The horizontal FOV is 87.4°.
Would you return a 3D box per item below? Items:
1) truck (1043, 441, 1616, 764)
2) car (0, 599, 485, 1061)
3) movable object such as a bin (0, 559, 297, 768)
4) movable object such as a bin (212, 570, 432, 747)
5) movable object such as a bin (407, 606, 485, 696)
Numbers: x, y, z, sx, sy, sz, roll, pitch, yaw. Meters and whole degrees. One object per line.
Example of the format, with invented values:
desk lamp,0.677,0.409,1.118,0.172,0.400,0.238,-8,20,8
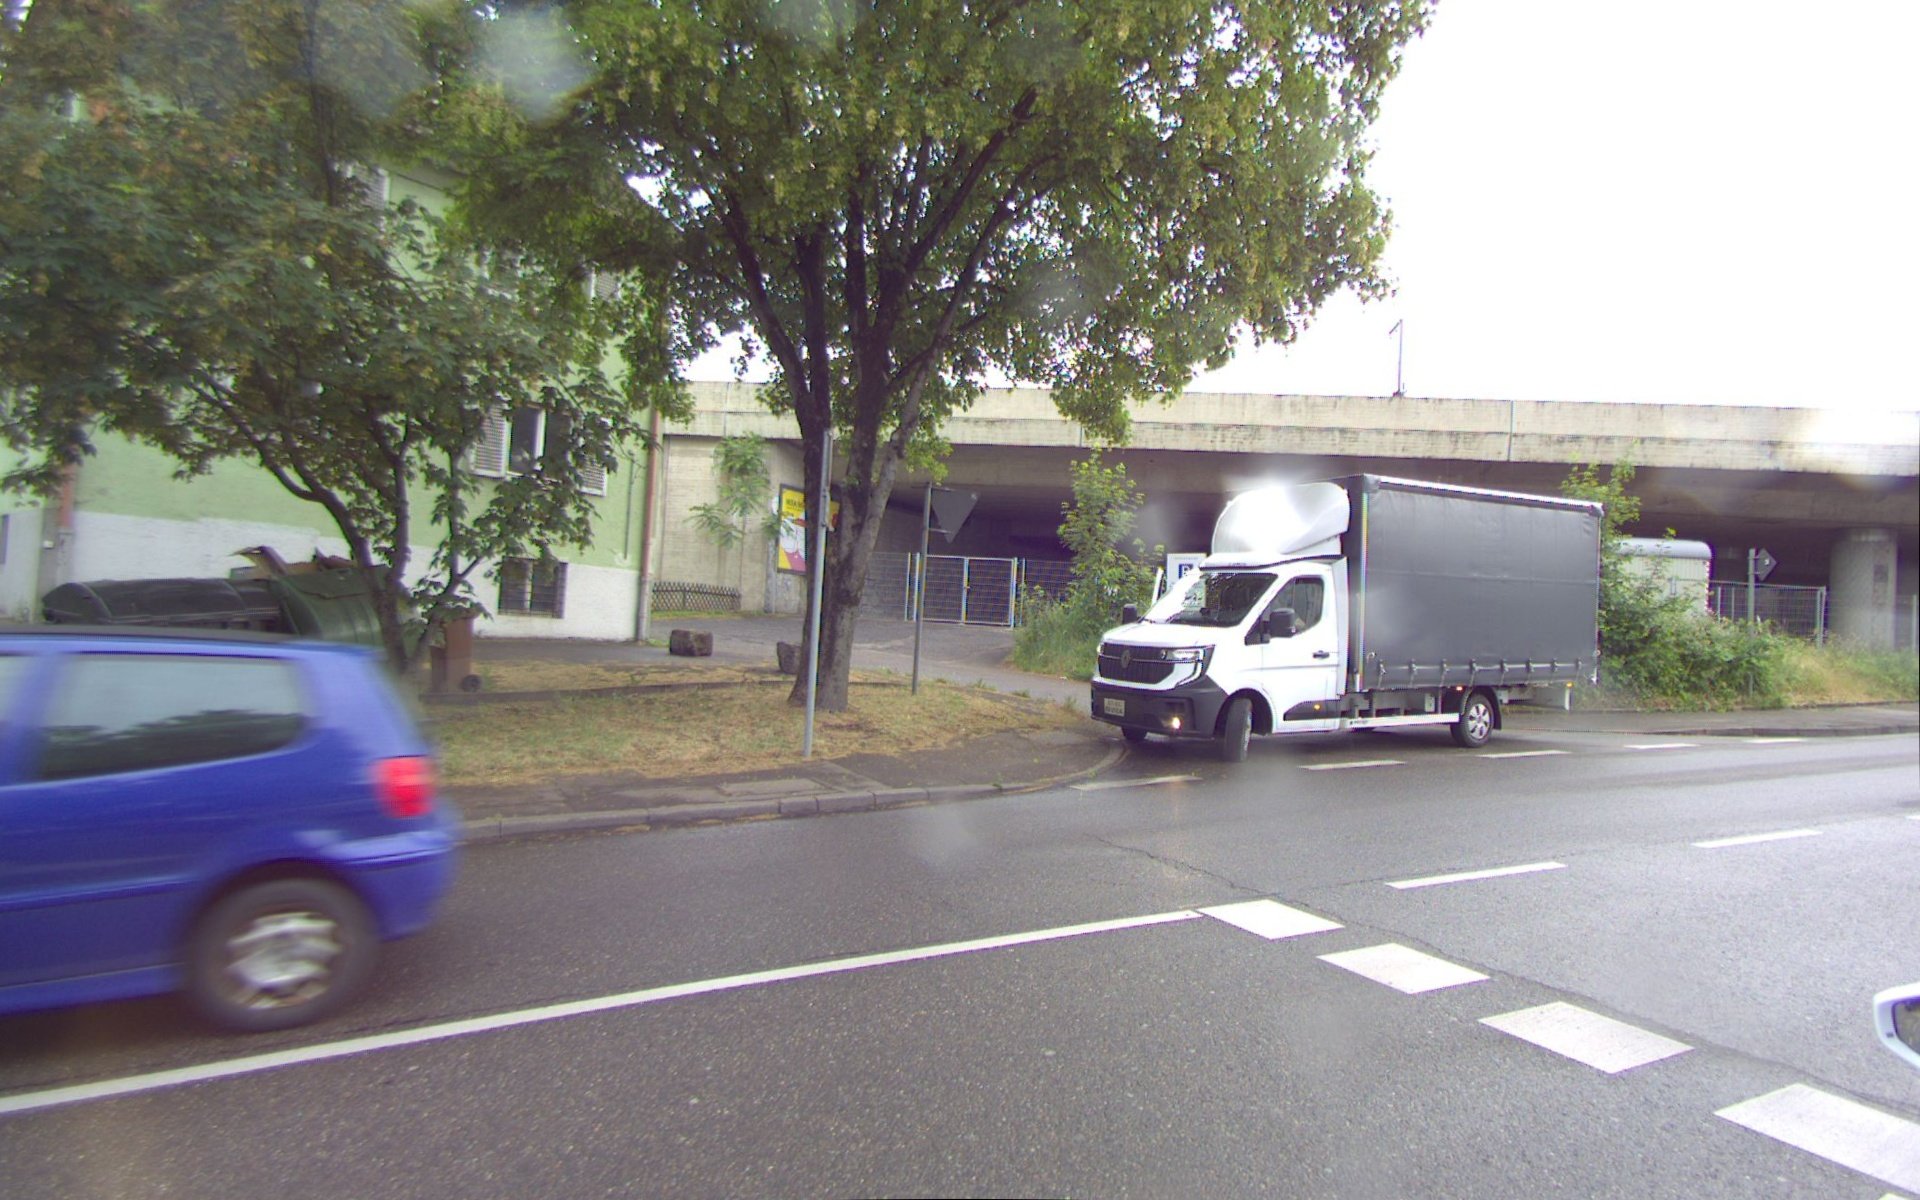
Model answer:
truck,5.051,0.176,13.177,7.680,3.279,2.599,2,-1,-28
car,-3.788,0.717,3.647,3.650,1.444,1.591,2,-1,-28
movable object such as a bin,-6.726,0.452,8.430,1.268,1.457,1.463,4,5,13
movable object such as a bin,-6.153,0.504,9.792,1.078,1.457,1.463,4,5,13
movable object such as a bin,-5.771,0.565,11.272,0.715,0.970,0.554,3,-1,-30
